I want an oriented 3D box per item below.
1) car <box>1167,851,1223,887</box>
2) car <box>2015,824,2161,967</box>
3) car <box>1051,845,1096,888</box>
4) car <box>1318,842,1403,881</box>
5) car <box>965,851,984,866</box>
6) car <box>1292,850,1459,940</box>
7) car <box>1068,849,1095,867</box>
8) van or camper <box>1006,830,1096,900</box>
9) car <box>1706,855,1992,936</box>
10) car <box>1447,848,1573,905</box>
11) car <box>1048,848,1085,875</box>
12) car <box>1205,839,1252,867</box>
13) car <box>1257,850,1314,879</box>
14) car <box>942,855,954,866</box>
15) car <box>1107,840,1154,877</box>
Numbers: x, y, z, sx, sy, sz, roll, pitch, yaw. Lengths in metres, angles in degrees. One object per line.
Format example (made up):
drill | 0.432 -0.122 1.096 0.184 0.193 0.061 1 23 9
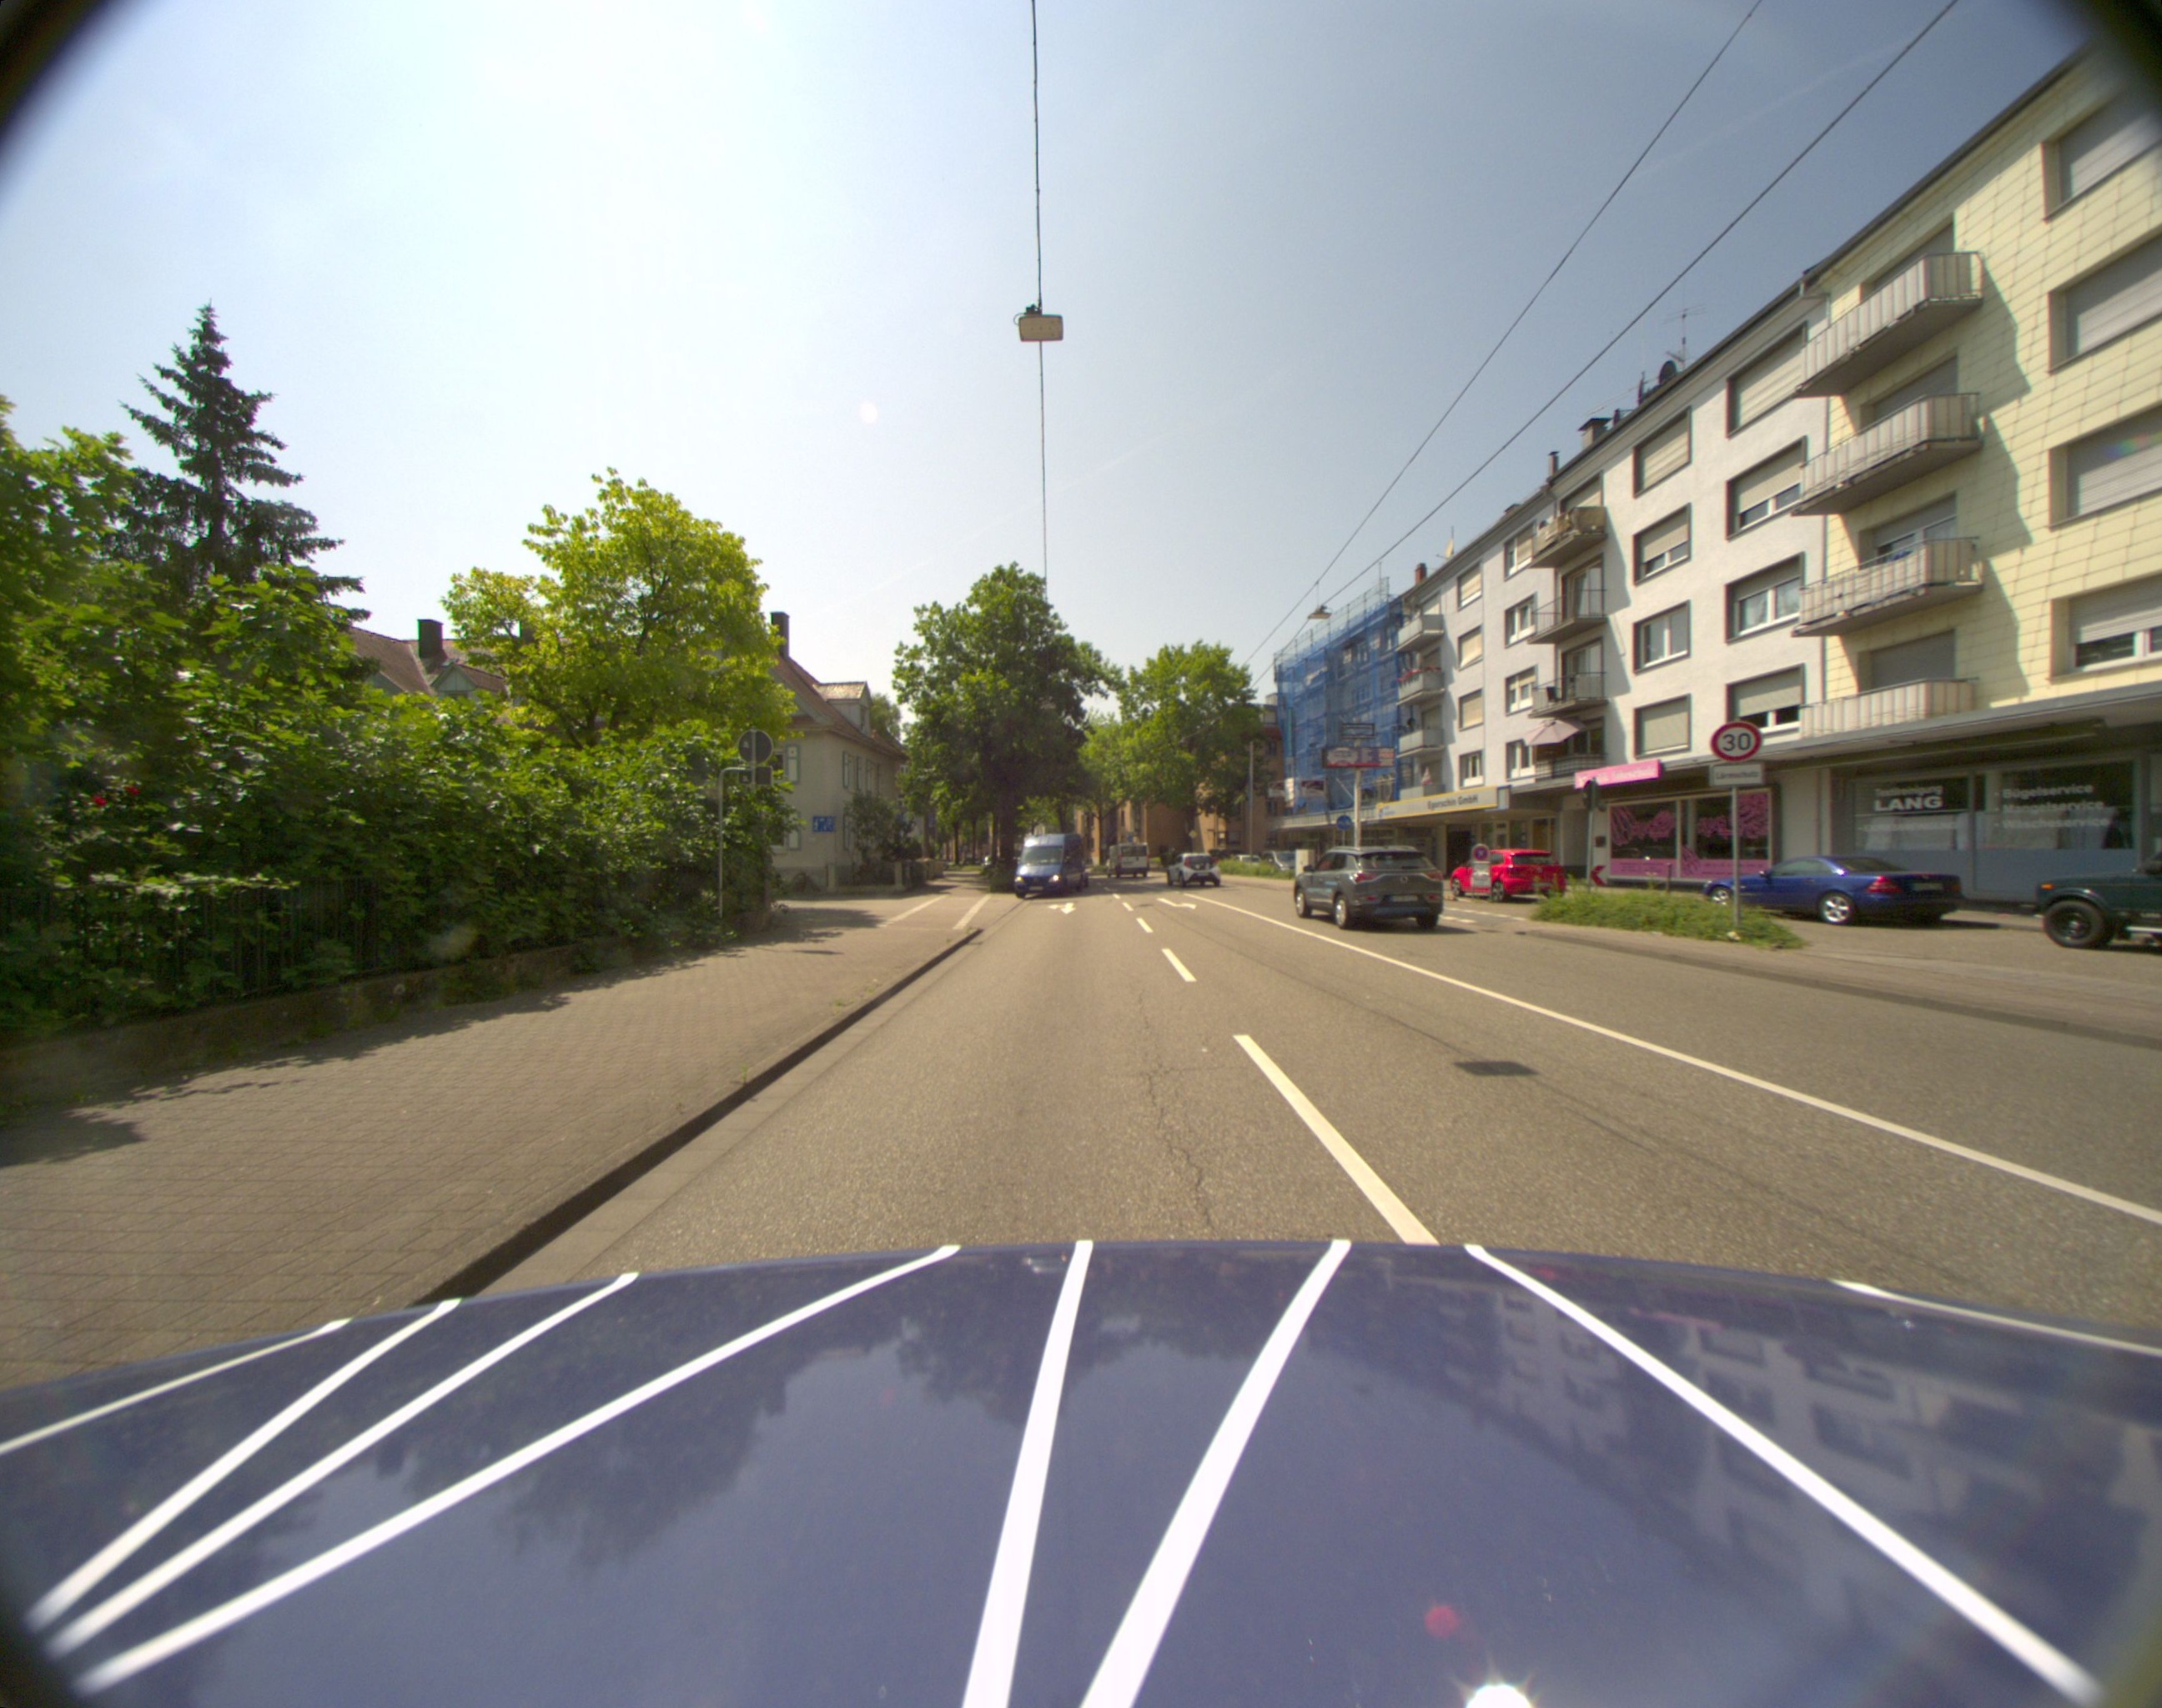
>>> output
car | 5.077 0.645 34.219 1.706 1.462 3.557 -2 0 -4
car | 14.600 0.515 9.291 1.643 1.828 3.860 -2 0 1
car | -0.296 0.572 37.373 1.998 2.002 4.595 0 0 2
car | 11.698 0.292 32.134 1.913 1.511 4.333 -1 0 -2
car | -12.705 0.465 90.297 1.828 1.674 3.995 -2 1 -12
car | 5.950 0.731 15.904 1.928 1.598 3.999 -1 1 0
car | 0.020 0.359 66.313 1.707 1.462 3.555 -2 0 -10
van or camper | -1.071 0.389 31.291 2.162 2.566 5.851 -2 0 13
car | 14.599 0.700 14.805 1.704 1.279 3.861 -2 1 1
car | 12.053 0.586 21.617 1.639 1.459 3.634 0 1 2
car | -1.098 0.507 53.972 2.000 1.740 4.441 -2 1 -9
car | 9.981 -0.082 51.728 1.914 1.795 4.331 -1 0 -7
car | 11.365 0.541 42.468 1.913 1.511 4.333 -1 0 -2
car | -21.080 1.048 120.059 1.704 1.543 3.995 -2 1 -12
car | 3.256 0.278 51.061 2.321 2.229 4.759 -3 1 -5
